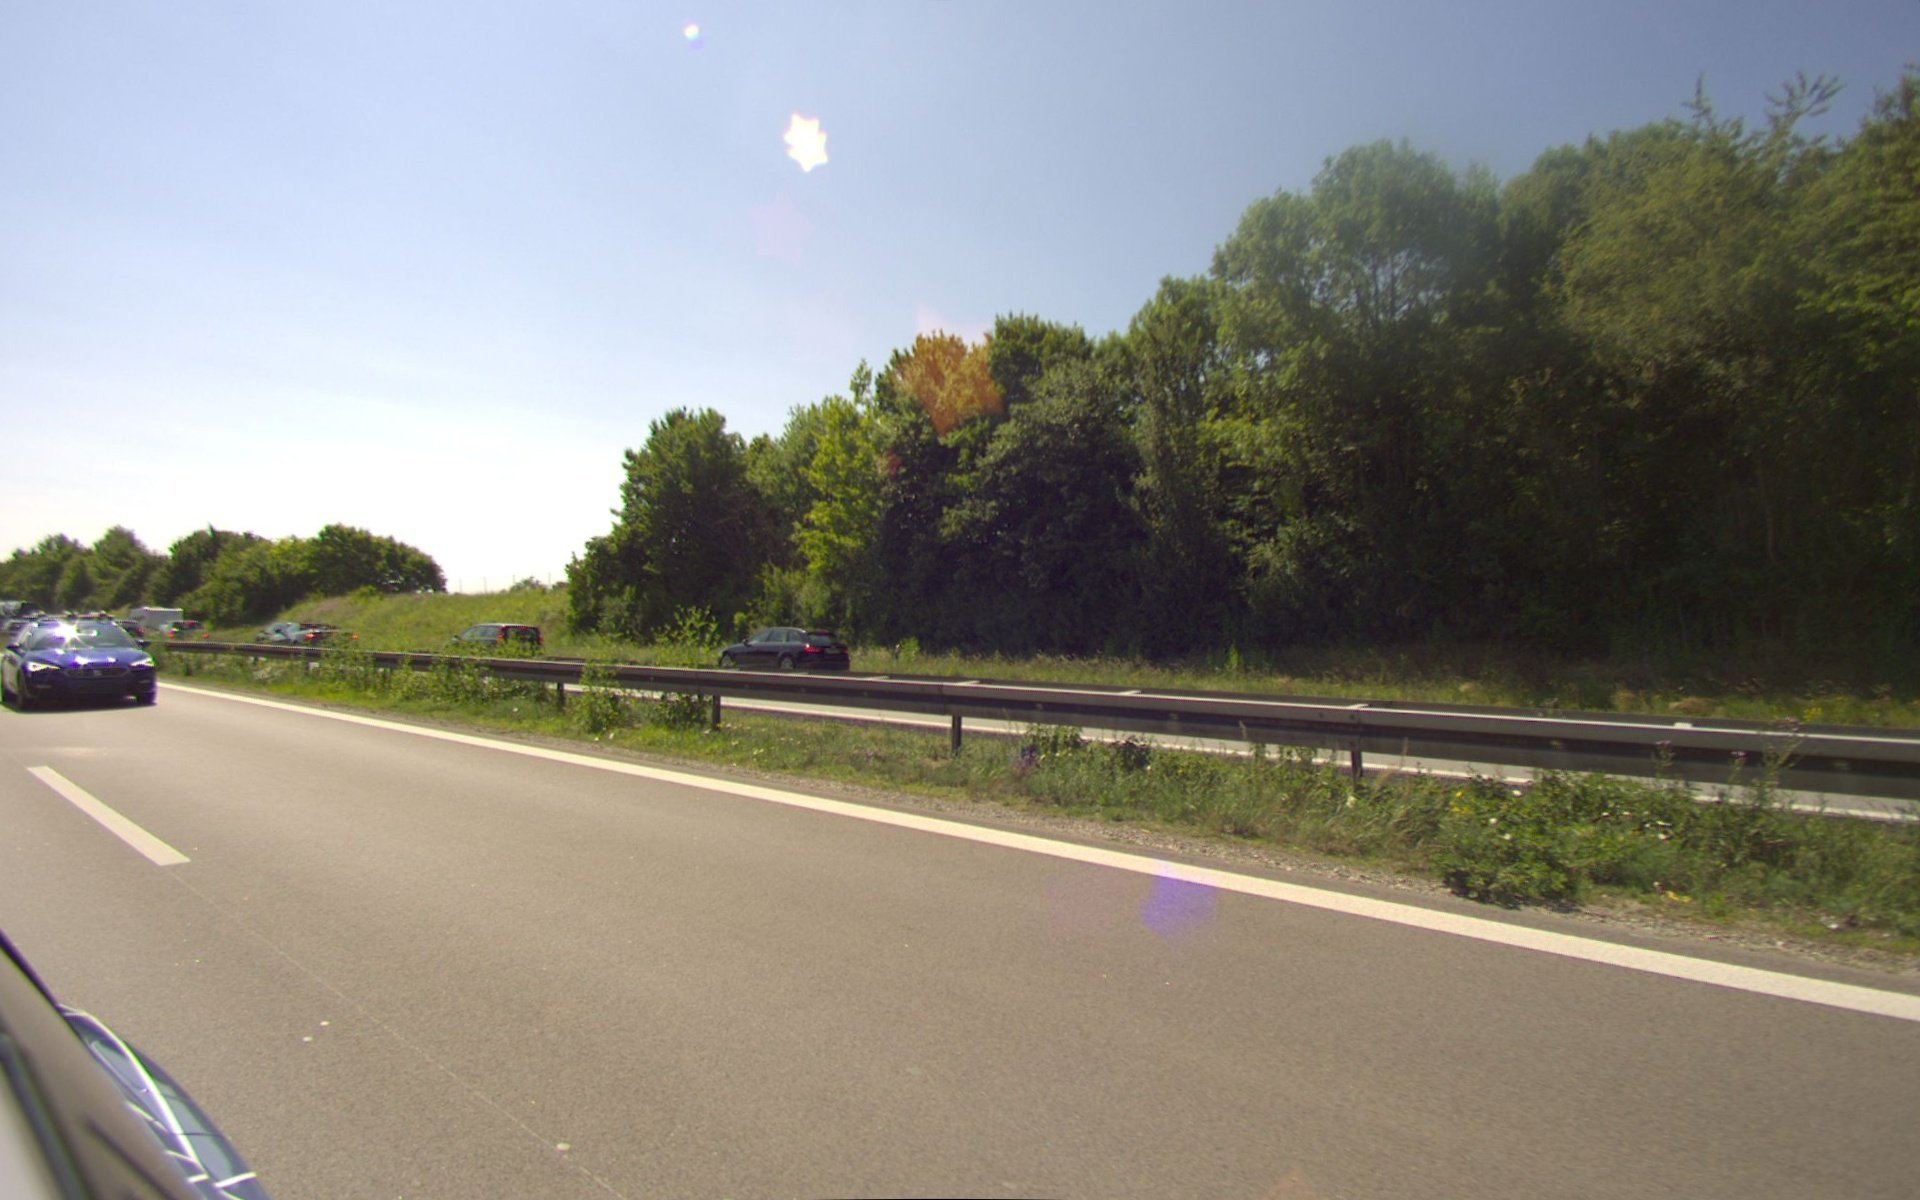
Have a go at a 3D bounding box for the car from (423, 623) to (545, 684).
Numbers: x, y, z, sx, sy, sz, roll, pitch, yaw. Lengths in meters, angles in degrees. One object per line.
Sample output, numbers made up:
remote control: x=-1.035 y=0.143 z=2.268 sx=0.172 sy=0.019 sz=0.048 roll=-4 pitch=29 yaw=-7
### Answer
car: x=-16.021 y=1.717 z=33.959 sx=4.694 sy=1.818 sz=1.973 roll=0 pitch=-1 yaw=41

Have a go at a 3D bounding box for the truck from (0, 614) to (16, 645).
truck: x=-128.367 y=3.865 z=134.497 sx=7.387 sy=4.081 sz=3.208 roll=-1 pitch=-3 yaw=39

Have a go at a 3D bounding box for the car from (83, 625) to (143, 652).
car: x=-48.926 y=2.210 z=58.444 sx=4.614 sy=1.528 sz=1.892 roll=-1 pitch=-2 yaw=41

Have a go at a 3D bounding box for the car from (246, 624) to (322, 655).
car: x=-33.587 y=1.916 z=50.248 sx=4.657 sy=1.407 sz=1.973 roll=0 pitch=-1 yaw=41

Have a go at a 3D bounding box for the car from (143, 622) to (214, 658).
car: x=-37.340 y=1.870 z=48.304 sx=4.420 sy=1.586 sz=1.830 roll=0 pitch=-1 yaw=41

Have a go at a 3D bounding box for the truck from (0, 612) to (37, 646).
truck: x=-121.265 y=3.671 z=128.771 sx=16.656 sy=4.081 sz=3.180 roll=-1 pitch=-3 yaw=39

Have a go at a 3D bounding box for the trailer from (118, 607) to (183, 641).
trailer: x=-67.161 y=2.006 z=83.850 sx=8.625 sy=2.708 sz=2.703 roll=-1 pitch=-2 yaw=41

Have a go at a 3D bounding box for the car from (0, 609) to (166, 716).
car: x=-15.500 y=1.000 z=17.637 sx=4.238 sy=1.638 sz=1.880 roll=-1 pitch=-1 yaw=41

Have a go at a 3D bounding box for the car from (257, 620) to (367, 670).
car: x=-22.983 y=1.544 z=35.801 sx=5.087 sy=1.617 sz=1.972 roll=-1 pitch=-2 yaw=42

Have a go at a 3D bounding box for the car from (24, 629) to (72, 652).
car: x=-62.687 y=2.769 z=69.526 sx=4.614 sy=1.528 sz=1.892 roll=-1 pitch=-2 yaw=41

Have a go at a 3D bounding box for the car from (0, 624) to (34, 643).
car: x=-72.731 y=2.581 z=77.871 sx=3.998 sy=1.401 sz=1.698 roll=-1 pitch=-2 yaw=41

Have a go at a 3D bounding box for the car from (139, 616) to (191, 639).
car: x=-50.670 y=1.756 z=64.479 sx=4.801 sy=1.438 sz=1.726 roll=-1 pitch=-2 yaw=41

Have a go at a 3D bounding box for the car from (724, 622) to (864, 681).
car: x=-4.808 y=1.453 z=28.978 sx=4.128 sy=1.566 sz=1.777 roll=-1 pitch=-4 yaw=43
